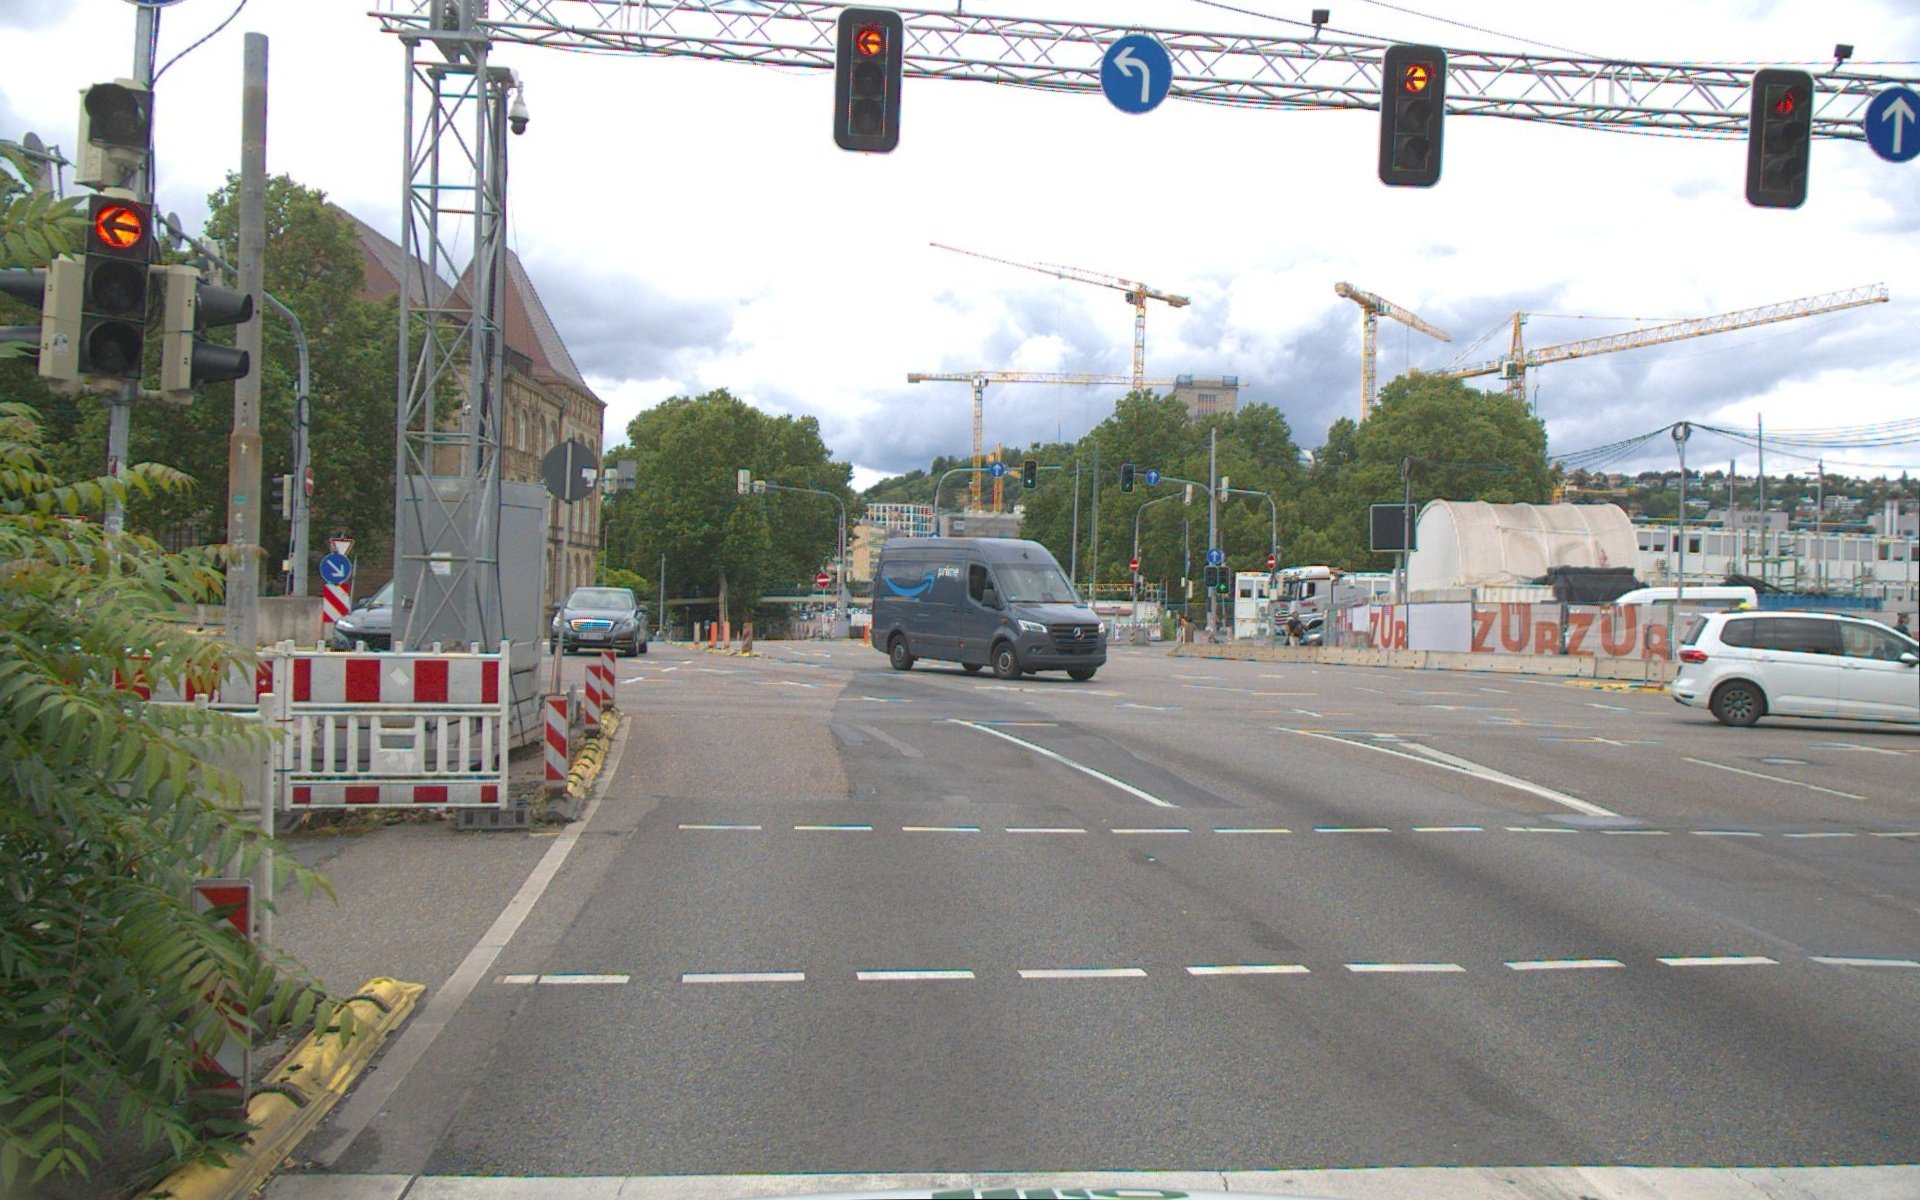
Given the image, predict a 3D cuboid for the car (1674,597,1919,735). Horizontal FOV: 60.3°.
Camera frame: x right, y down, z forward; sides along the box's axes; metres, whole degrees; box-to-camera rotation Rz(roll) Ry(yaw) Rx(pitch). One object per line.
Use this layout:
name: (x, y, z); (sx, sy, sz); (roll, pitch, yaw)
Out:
car: (12.520, 0.904, 23.457); (4.341, 1.766, 1.883); (2, 0, 24)

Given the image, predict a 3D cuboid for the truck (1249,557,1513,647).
truck: (20.989, 0.150, 82.311); (12.837, 4.111, 3.927); (1, 0, -21)

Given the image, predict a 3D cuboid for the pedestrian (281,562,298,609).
pedestrian: (-29.521, -0.628, 72.846); (0.523, 2.049, 0.421); (2, 0, -44)

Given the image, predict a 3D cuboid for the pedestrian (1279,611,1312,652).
pedestrian: (11.718, 1.107, 57.799); (0.782, 1.402, 0.902); (2, 0, -12)

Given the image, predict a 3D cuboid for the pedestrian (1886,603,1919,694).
pedestrian: (21.672, 1.108, 37.987); (0.638, 2.049, 0.517); (1, 0, 24)

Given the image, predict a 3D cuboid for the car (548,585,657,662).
car: (-7.722, 0.475, 36.029); (1.673, 1.540, 4.285); (2, 0, -4)

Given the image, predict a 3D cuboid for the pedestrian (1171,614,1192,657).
pedestrian: (9.057, 1.438, 67.597); (0.714, 1.718, 0.677); (2, 0, -1)

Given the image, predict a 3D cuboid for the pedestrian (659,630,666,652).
pedestrian: (-28.391, 3.932, 158.064); (0.513, 2.049, 0.566); (1, 0, -1)

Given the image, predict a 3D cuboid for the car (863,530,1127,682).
car: (0.515, 0.067, 31.668); (2.038, 2.639, 5.945); (1, 0, -33)

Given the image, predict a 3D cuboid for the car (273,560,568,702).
car: (-7.197, 0.369, 22.610); (1.838, 1.699, 4.448); (2, 0, 12)

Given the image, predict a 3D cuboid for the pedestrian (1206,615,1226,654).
pedestrian: (11.358, 1.521, 73.386); (0.609, 1.718, 0.710); (2, 0, 28)

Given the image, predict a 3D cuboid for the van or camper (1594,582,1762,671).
van or camper: (20.722, 0.734, 47.902); (4.123, 2.398, 2.002); (1, 0, 14)
